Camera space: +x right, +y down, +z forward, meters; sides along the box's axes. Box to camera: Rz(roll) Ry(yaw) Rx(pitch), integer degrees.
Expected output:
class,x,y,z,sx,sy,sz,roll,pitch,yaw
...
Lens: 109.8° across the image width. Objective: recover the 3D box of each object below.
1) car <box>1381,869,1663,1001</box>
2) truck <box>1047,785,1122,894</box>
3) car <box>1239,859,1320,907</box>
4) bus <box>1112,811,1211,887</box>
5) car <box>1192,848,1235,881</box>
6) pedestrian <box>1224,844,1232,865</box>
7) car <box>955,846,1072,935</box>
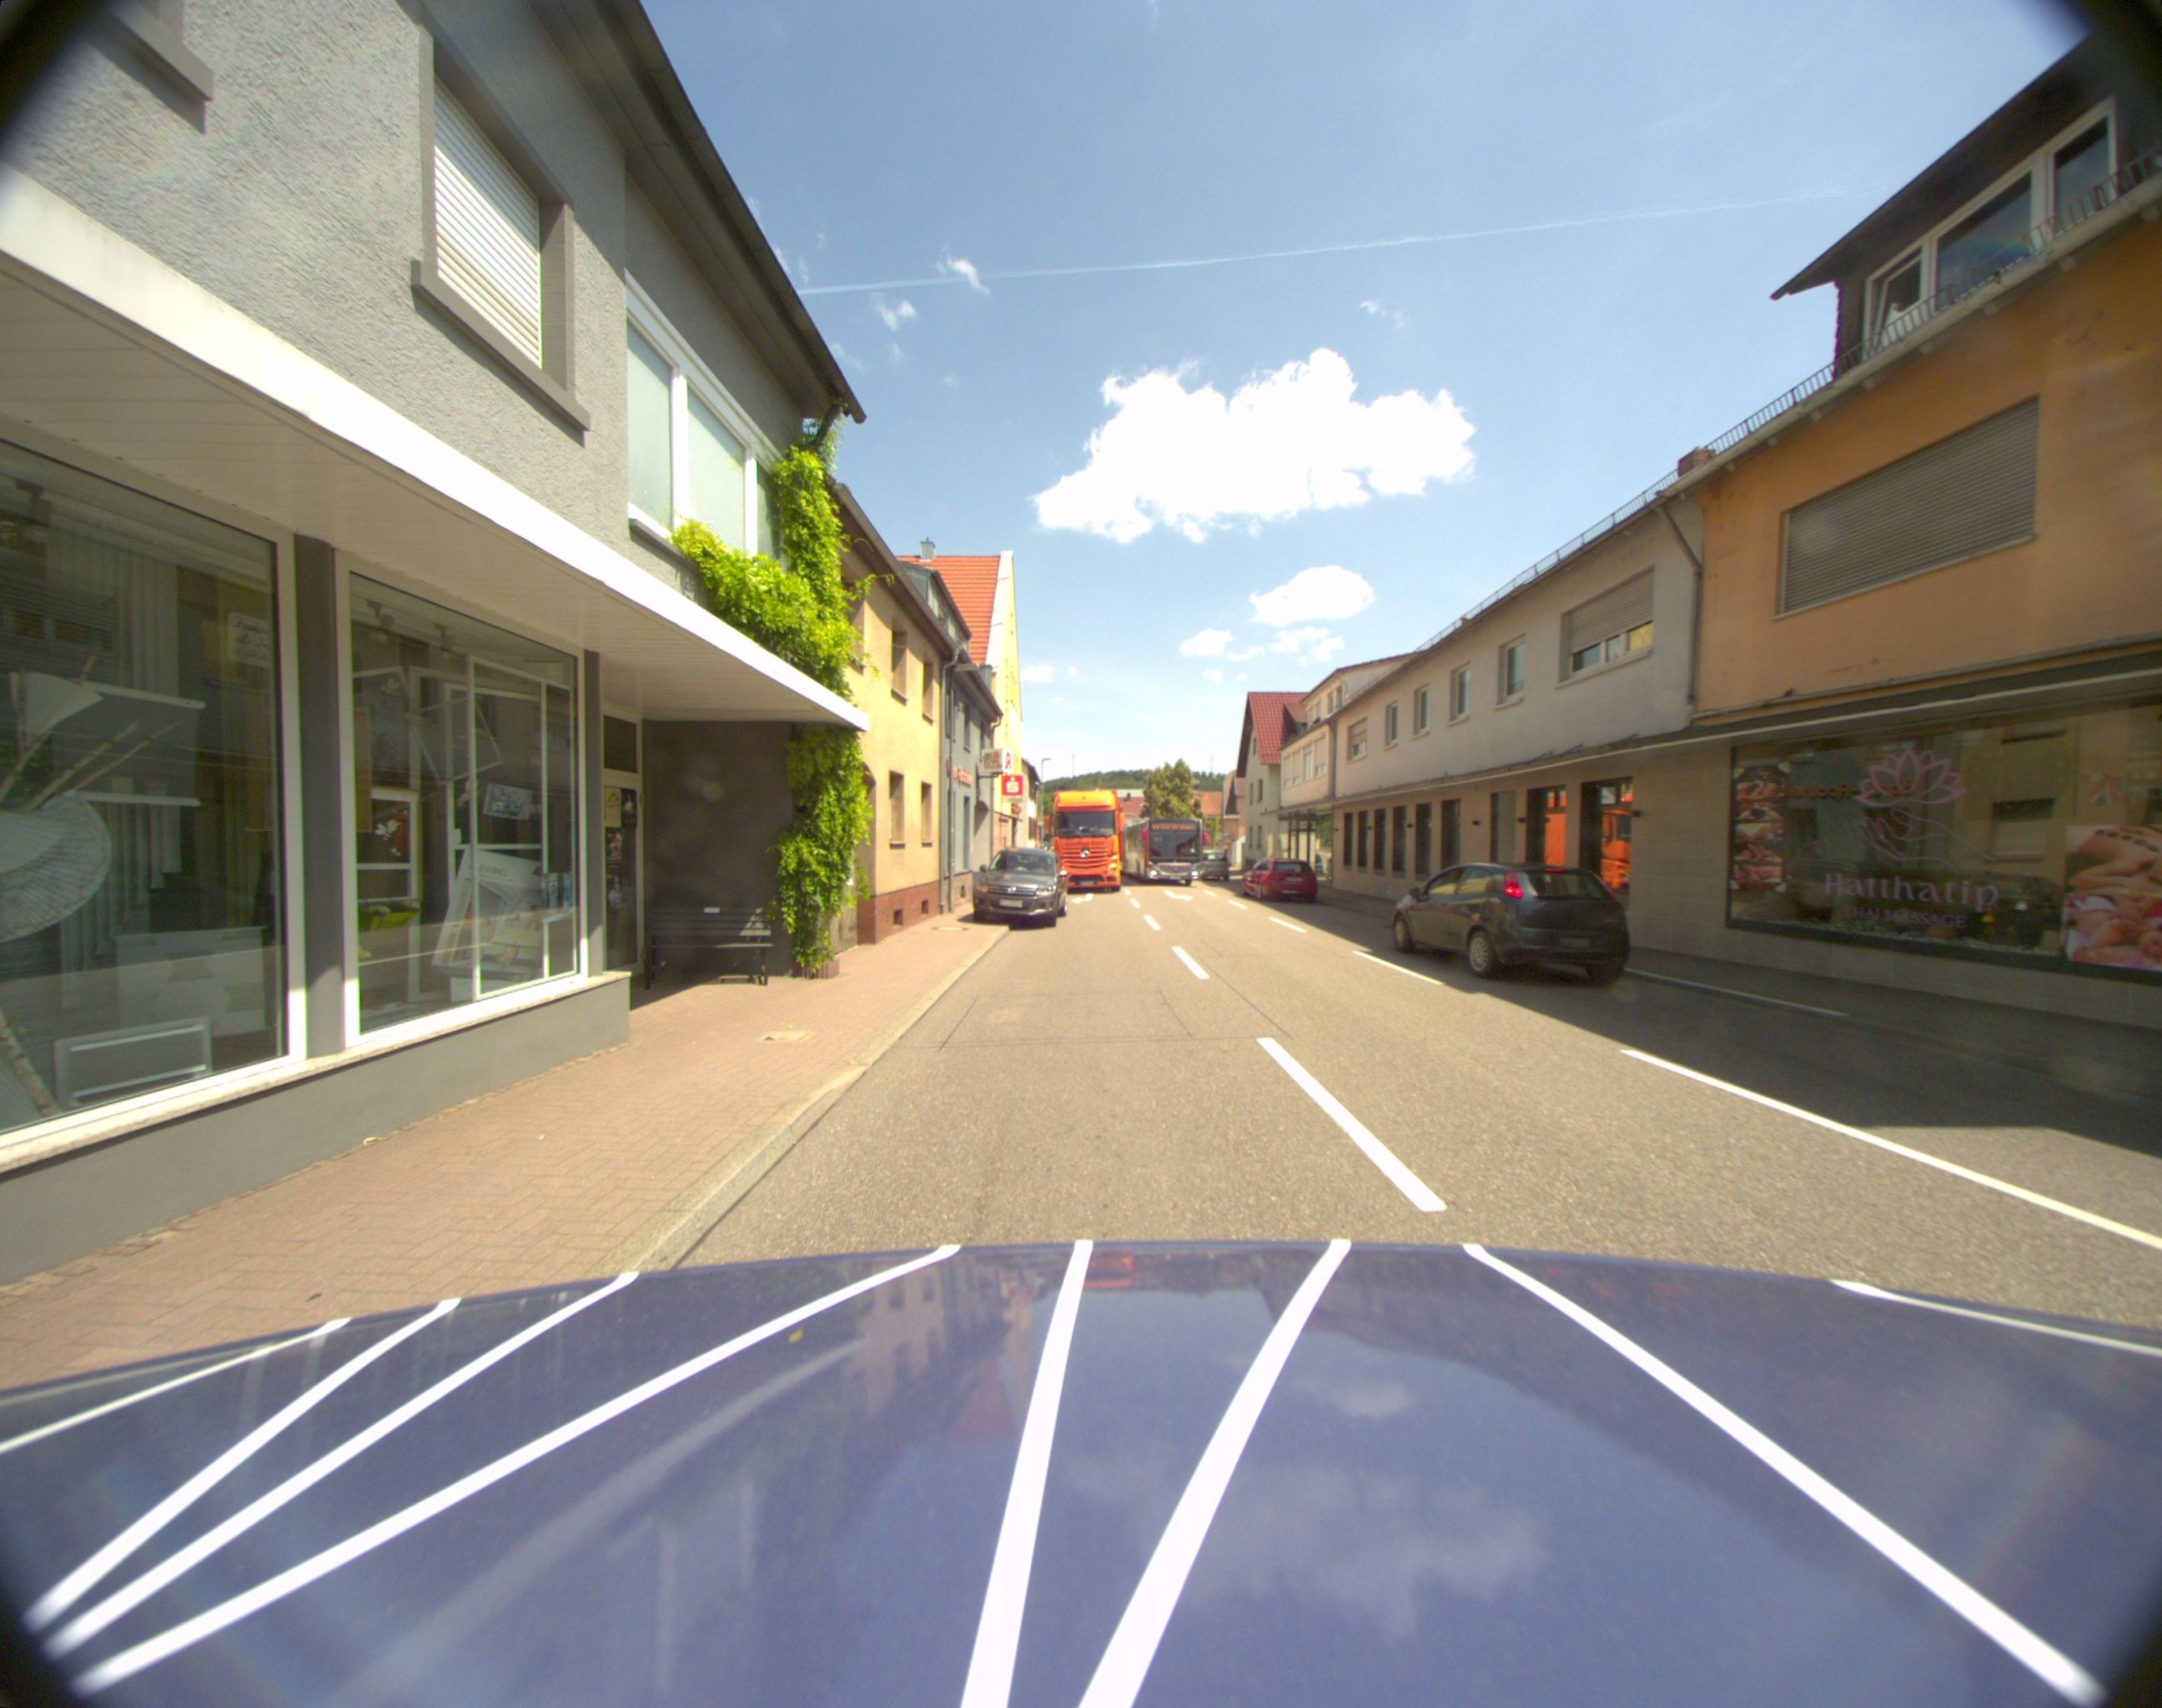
class,x,y,z,sx,sy,sz,roll,pitch,yaw
car,5.813,0.970,10.624,1.722,1.414,3.820,2,0,1
truck,0.384,-0.519,32.900,2.614,3.922,9.994,-2,0,3
car,6.591,0.902,25.698,1.721,1.400,4.285,3,0,2
bus,3.822,-0.258,41.815,2.859,3.186,19.028,-1,0,-2
car,7.173,0.572,41.512,1.683,1.607,3.821,4,0,2
pedestrian,12.416,0.014,64.037,0.471,1.754,0.478,0,2,-20
car,-1.396,0.713,17.474,1.998,1.699,4.101,2,1,4
